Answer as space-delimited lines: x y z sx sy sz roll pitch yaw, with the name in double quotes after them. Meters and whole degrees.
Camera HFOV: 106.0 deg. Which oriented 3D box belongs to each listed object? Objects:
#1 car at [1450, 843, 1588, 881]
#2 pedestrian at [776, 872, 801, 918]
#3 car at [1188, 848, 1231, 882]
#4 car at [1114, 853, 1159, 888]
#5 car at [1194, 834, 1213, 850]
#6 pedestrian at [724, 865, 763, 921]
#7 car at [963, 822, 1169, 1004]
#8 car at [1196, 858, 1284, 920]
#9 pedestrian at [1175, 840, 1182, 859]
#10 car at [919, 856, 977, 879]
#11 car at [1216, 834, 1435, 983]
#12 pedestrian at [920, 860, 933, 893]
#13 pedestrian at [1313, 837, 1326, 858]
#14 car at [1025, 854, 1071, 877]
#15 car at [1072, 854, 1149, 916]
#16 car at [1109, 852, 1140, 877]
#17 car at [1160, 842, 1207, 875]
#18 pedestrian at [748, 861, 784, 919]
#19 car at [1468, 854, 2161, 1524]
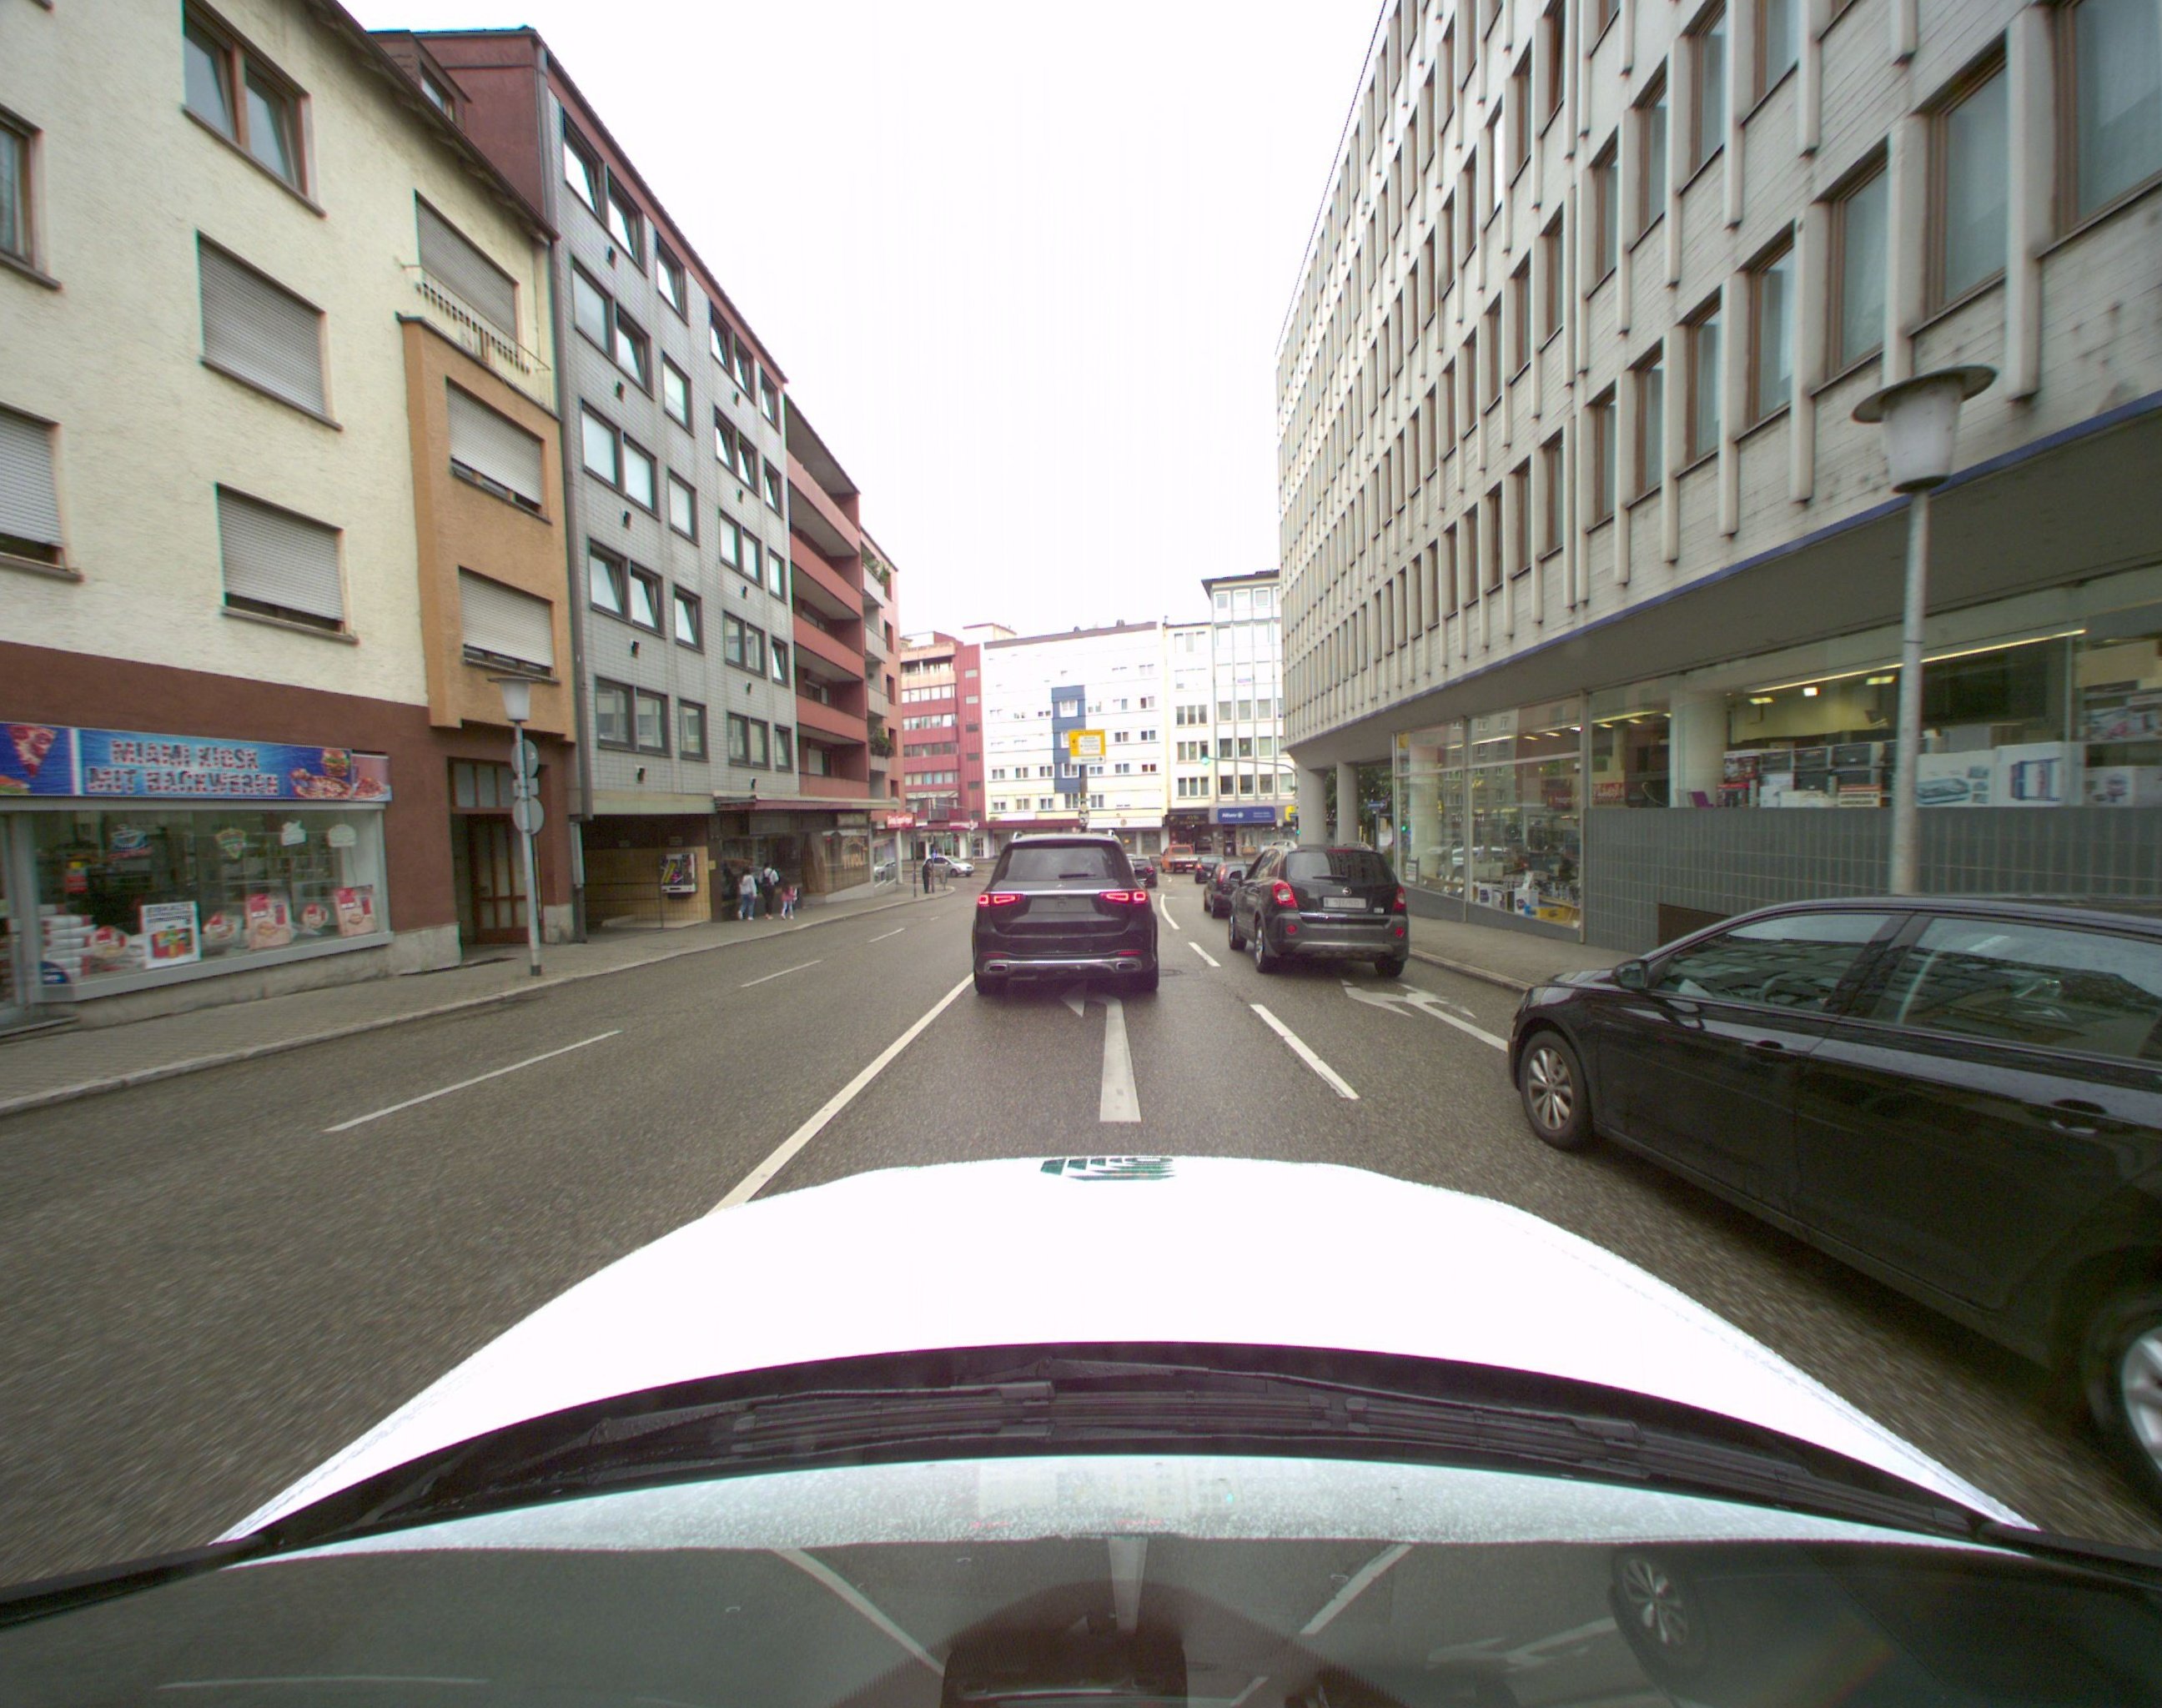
18.356 0.355 34.279 4.790 1.494 1.868 -1 0 43 "car"
-8.698 1.212 24.225 0.533 1.323 0.722 1 0 -7 "pedestrian"
6.597 0.588 42.162 1.815 1.658 4.500 0 -1 4 "car"
2.584 0.736 38.894 1.986 1.486 4.239 -2 0 2 "car"
13.188 -1.272 87.599 1.785 1.670 4.012 -2 0 11 "car"
-9.733 1.116 23.510 0.826 1.561 0.722 1 0 -7 "pedestrian"
-0.121 0.582 10.408 2.032 1.799 4.663 0 0 0 "car"
4.109 0.841 21.592 1.759 1.397 4.004 2 0 4 "car"
9.080 -0.414 75.885 0.561 1.688 0.758 -2 6 8 "pedestrian"
-10.091 0.980 61.799 4.122 1.592 1.752 1 2 30 "car"
3.258 0.641 11.862 1.891 1.695 4.506 2 0 1 "car"
-8.124 1.162 42.838 0.552 1.697 0.623 -1 0 -2 "pedestrian"
20.943 -0.561 71.631 1.023 1.688 0.833 -1 6 11 "pedestrian"
-2.828 0.922 69.075 2.008 1.838 4.132 1 0 -34 "car"
0.841 0.748 22.016 1.865 1.495 4.404 0 0 3 "car"
2.860 0.732 54.260 1.917 1.515 4.664 1 -1 2 "car"
7.215 0.320 57.957 2.239 2.228 5.417 0 0 -6 "car"
-9.405 1.059 24.332 0.826 1.689 0.722 1 0 -7 "pedestrian"
3.267 0.768 3.111 1.683 1.477 4.000 2 0 0 "car"
